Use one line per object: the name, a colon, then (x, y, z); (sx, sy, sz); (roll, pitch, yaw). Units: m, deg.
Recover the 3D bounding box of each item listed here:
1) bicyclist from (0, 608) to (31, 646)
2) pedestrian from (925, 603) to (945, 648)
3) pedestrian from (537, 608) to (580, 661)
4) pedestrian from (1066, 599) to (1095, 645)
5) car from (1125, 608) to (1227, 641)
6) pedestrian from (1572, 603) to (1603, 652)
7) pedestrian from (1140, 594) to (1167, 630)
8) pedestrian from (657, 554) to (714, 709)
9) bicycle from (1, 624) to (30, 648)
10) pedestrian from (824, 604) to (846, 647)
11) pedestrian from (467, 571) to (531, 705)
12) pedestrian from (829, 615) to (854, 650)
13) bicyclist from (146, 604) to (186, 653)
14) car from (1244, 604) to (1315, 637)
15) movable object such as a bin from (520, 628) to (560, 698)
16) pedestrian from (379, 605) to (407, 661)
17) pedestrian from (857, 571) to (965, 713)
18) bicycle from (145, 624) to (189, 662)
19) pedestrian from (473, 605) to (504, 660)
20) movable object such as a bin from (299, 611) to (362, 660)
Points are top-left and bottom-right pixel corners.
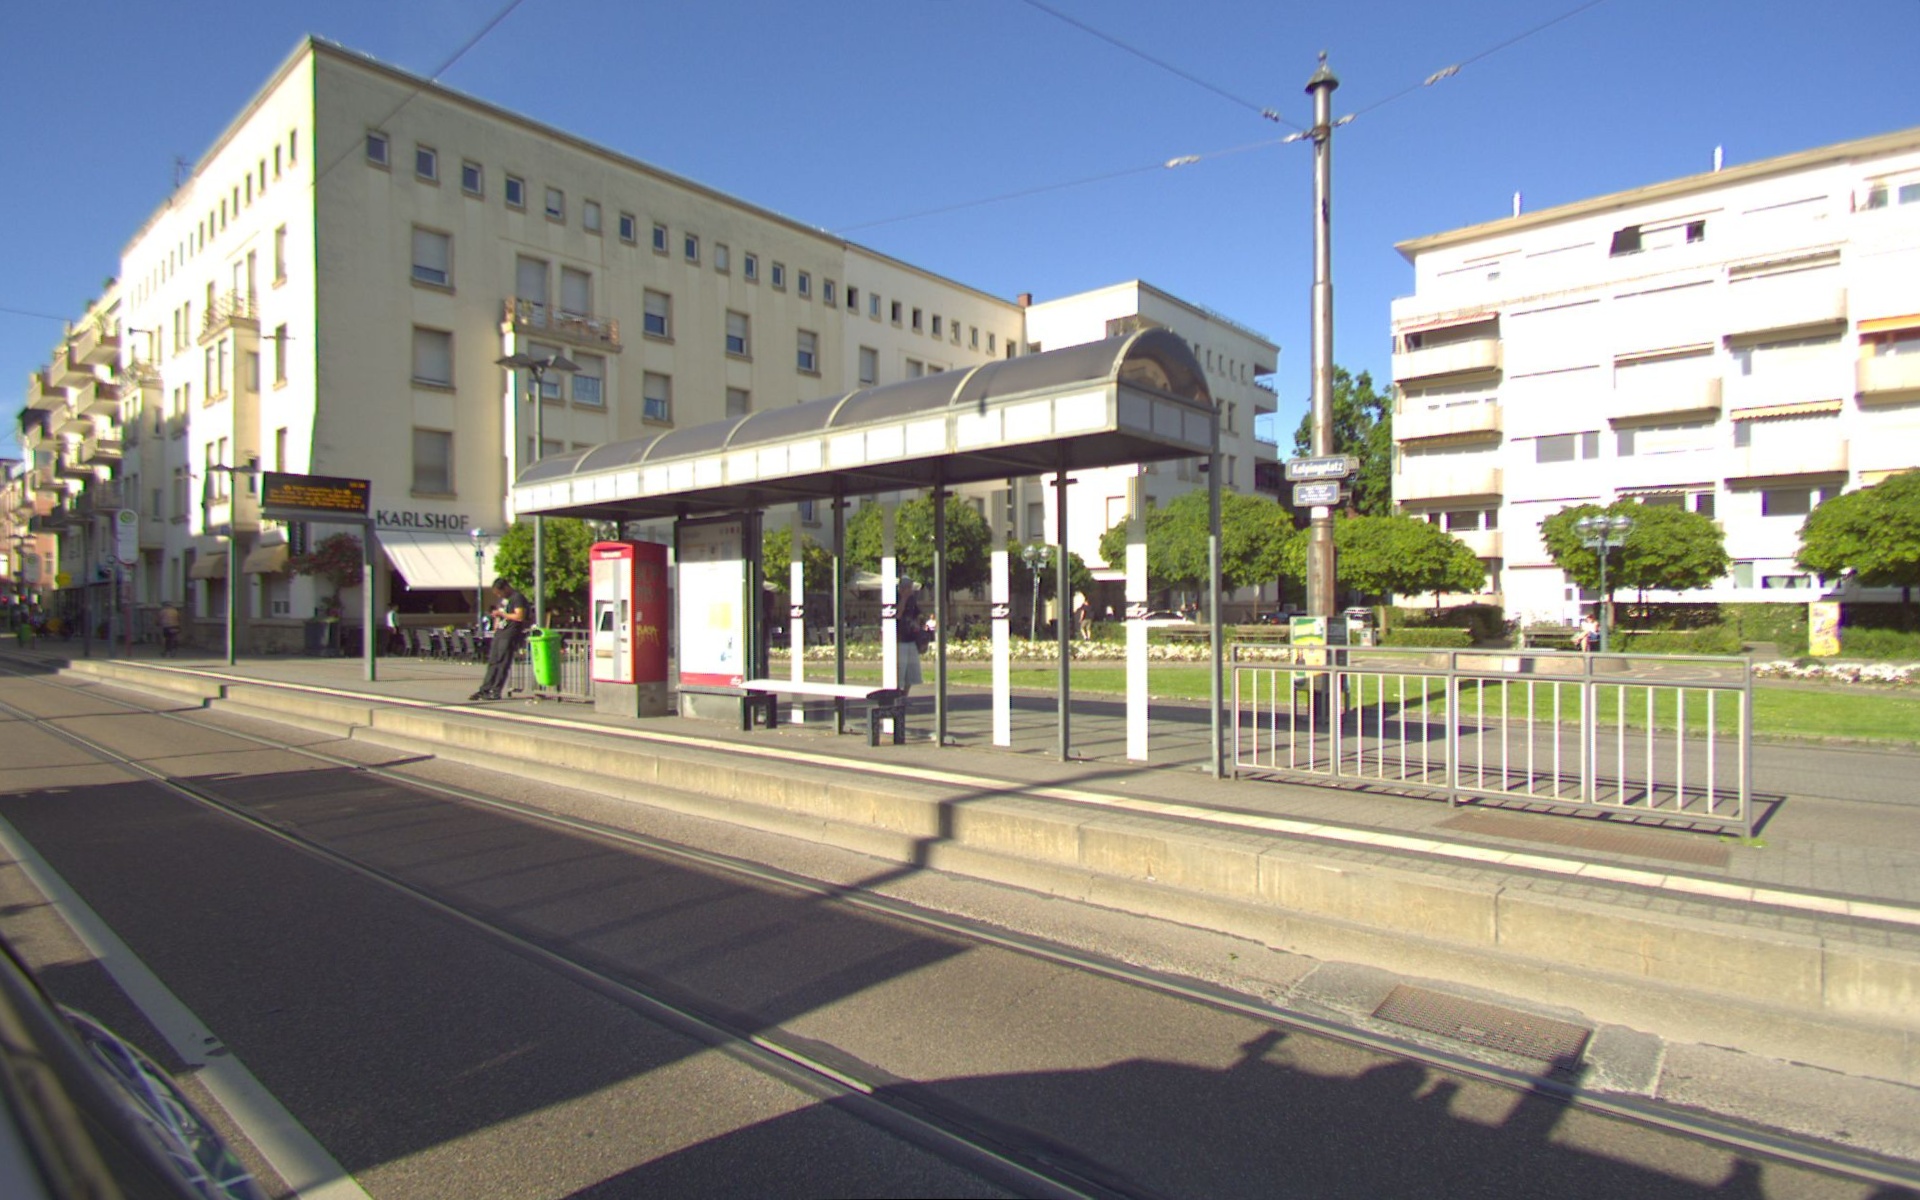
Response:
bicyclist: (-46.210, 1.310, 49.501); (1.094, 1.807, 0.994); (-1, -1, 38)
pedestrian: (-0.975, 1.015, 39.880); (0.710, 1.750, 0.673); (-2, -4, 1)
pedestrian: (-12.949, 1.131, 32.680); (0.755, 1.657, 1.053); (-4, -4, 36)
pedestrian: (4.839, 0.882, 40.499); (1.069, 1.801, 1.173); (-1, -1, 10)
car: (9.014, 1.026, 42.405); (3.713, 1.310, 1.973); (-1, -1, 41)
pedestrian: (18.175, 0.789, 29.308); (0.678, 1.370, 1.039); (-1, -1, 36)
pedestrian: (10.991, 0.697, 57.388); (1.090, 2.029, 1.079); (-1, -1, 40)
pedestrian: (-3.423, 0.394, 12.642); (0.526, 1.873, 0.423); (-1, -4, 44)
bicycle: (-46.234, 1.764, 49.541); (2.032, 1.134, 0.705); (-1, -1, 37)
pedestrian: (-5.269, 1.086, 42.676); (0.677, 1.750, 0.671); (-3, -4, 14)
pedestrian: (-6.158, 0.501, 13.526); (0.607, 1.731, 0.542); (-1, -3, 44)
pedestrian: (-4.500, 1.235, 38.493); (0.672, 1.280, 0.636); (-4, -4, 36)
bicyclist: (-24.763, 0.879, 31.577); (0.877, 1.466, 0.819); (0, 0, 41)
car: (15.221, 0.975, 48.251); (2.932, 1.497, 1.399); (-1, -1, 41)
movable object such as a bin: (-5.352, 0.789, 12.900); (0.416, 0.866, 0.332); (-1, -1, 44)
pedestrian: (-17.245, 1.000, 30.791); (0.662, 1.657, 0.753); (0, -4, -22)
pedestrian: (-0.626, 0.515, 12.755); (0.980, 1.693, 0.976); (1, -2, -37)
bicycle: (-24.744, 1.316, 31.561); (1.976, 1.121, 0.720); (-1, 0, 41)
pedestrian: (-14.447, 1.011, 31.023); (0.663, 1.657, 0.677); (-2, -4, -5)
movable object such as a bin: (-18.767, 1.044, 30.176); (1.127, 1.410, 1.302); (-1, -1, 40)
